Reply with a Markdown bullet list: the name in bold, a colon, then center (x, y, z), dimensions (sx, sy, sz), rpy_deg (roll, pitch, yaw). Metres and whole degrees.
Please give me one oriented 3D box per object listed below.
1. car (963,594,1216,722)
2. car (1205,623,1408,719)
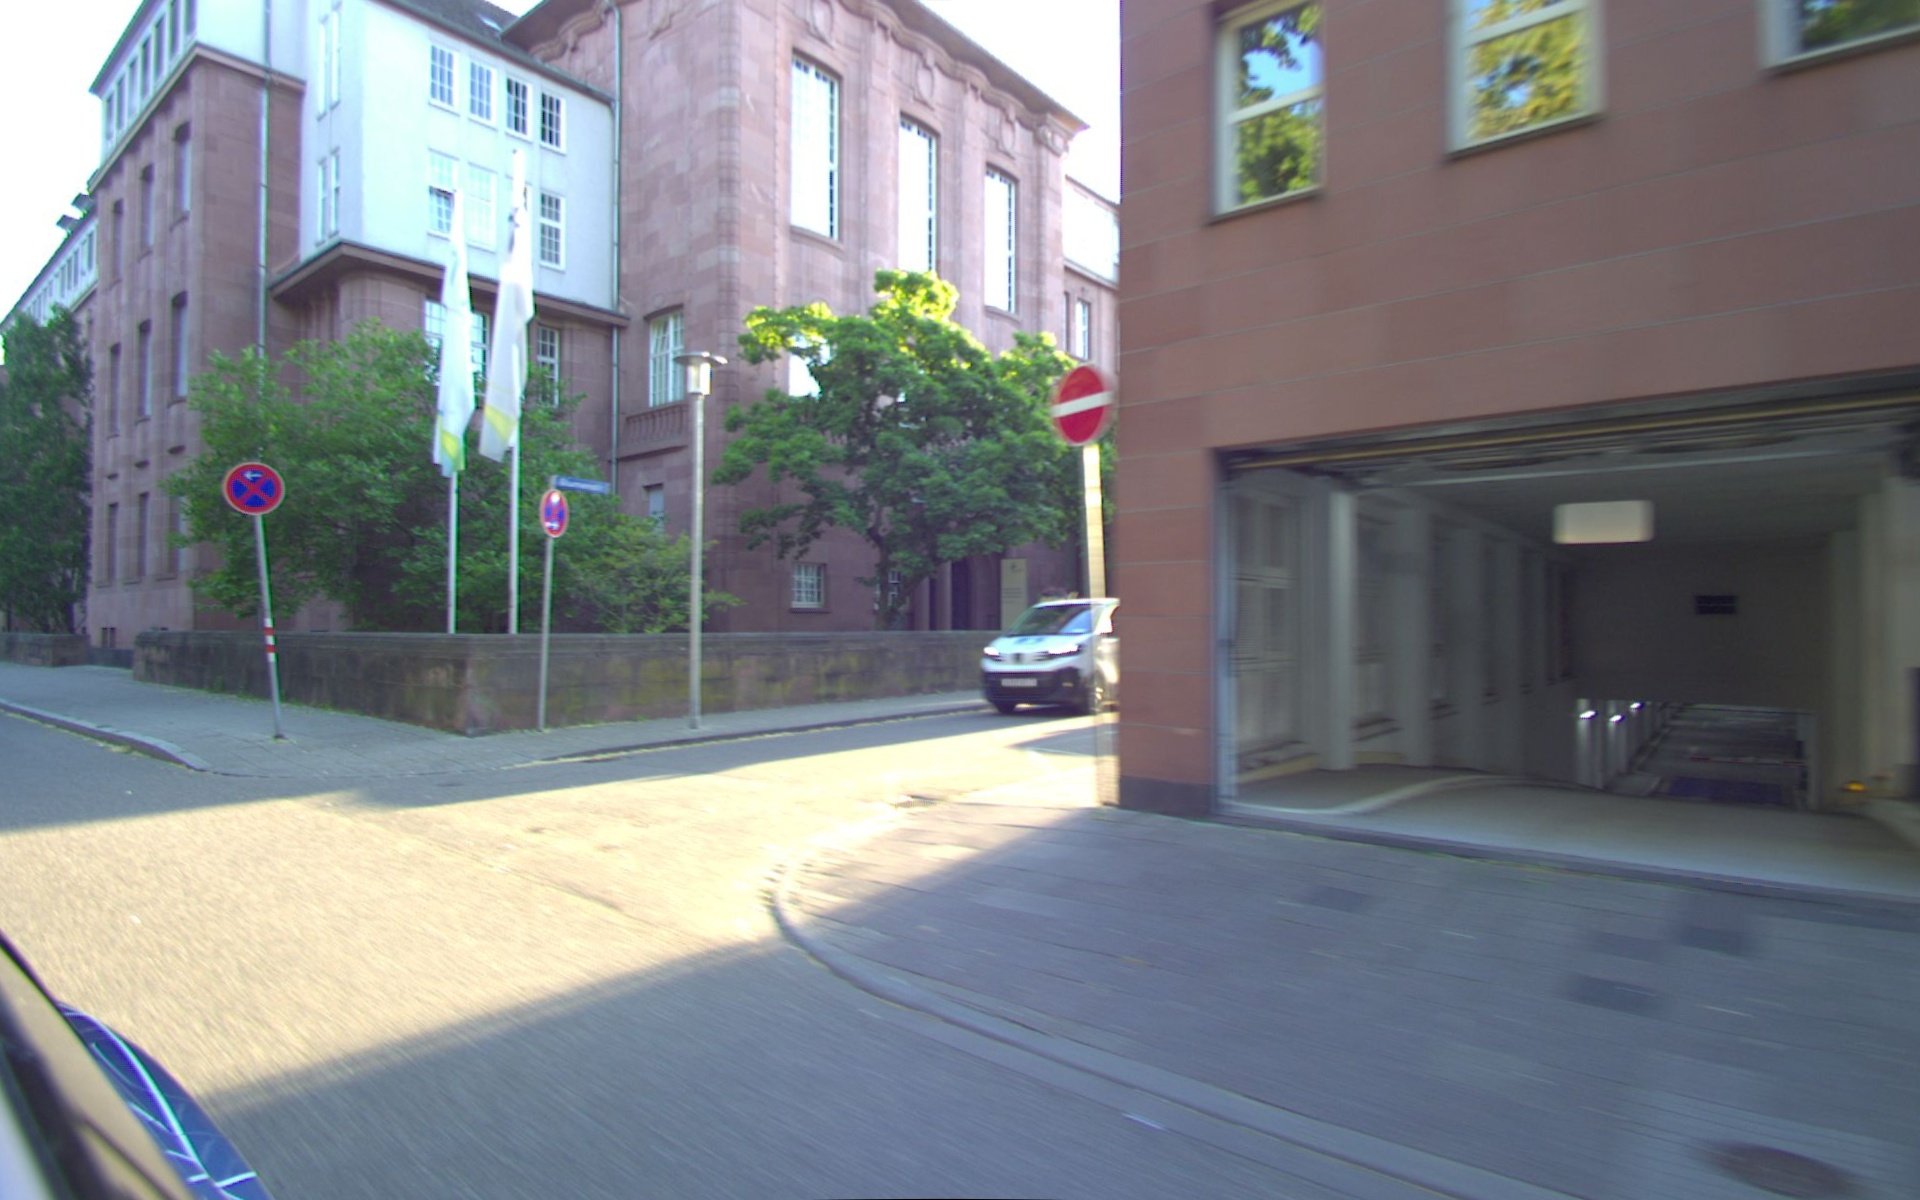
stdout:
- **car**: center (2.413, 0.938, 17.534), dimensions (1.997, 1.889, 5.042), rpy_deg (-4, -3, 38)
- **car**: center (6.443, 1.163, 18.411), dimensions (1.997, 1.422, 5.043), rpy_deg (1, 0, 38)
